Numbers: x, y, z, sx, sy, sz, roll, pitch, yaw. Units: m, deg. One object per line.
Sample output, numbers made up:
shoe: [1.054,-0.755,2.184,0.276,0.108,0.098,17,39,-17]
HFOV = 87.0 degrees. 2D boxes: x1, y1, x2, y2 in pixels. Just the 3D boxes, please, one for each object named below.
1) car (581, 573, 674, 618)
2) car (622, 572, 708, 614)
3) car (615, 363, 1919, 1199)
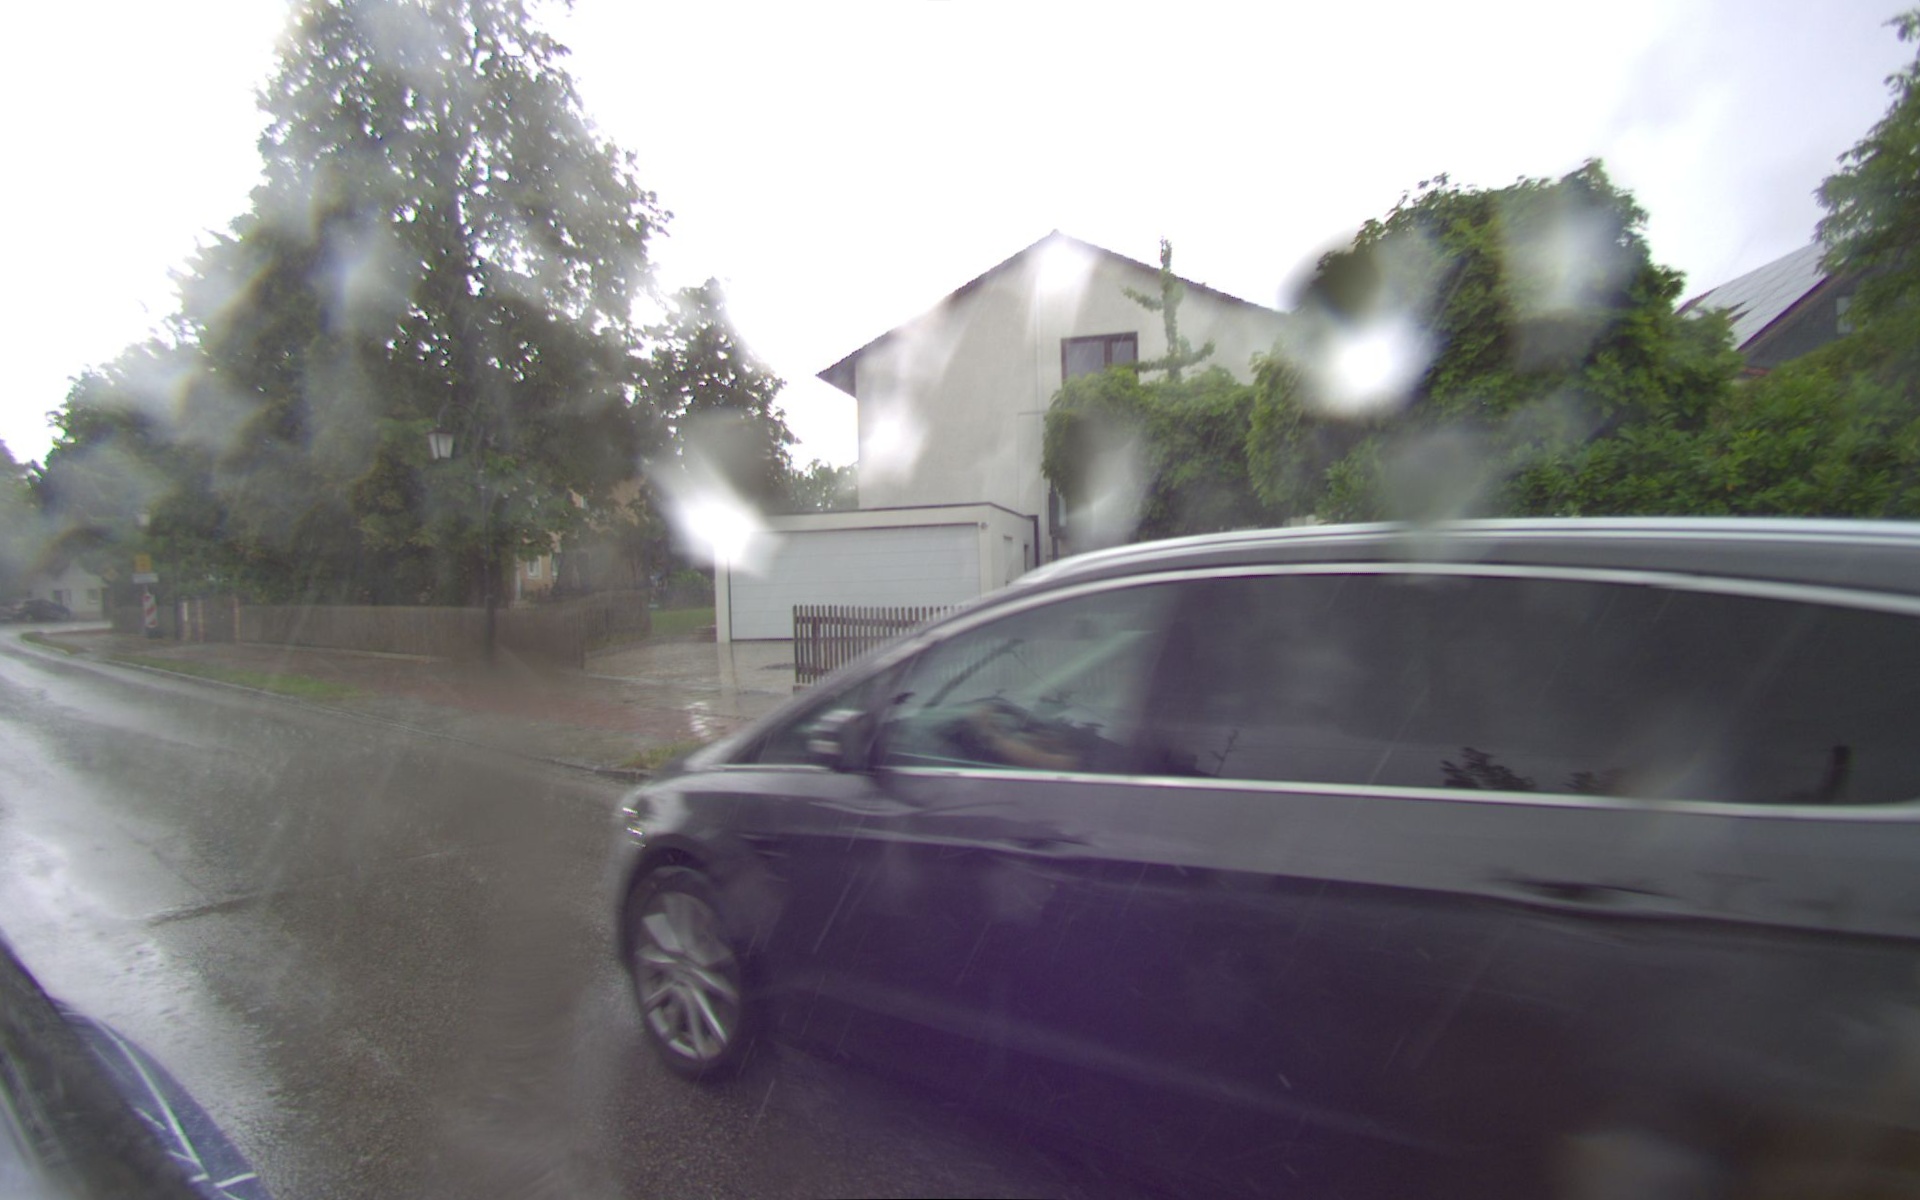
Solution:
car: [-15.593,-0.224,47.518,3.614,1.815,1.838,-3,2,8]
car: [-14.607,-0.380,50.190,3.614,1.815,1.838,-3,2,8]
car: [1.145,0.555,2.653,4.186,1.757,1.904,-1,1,38]
